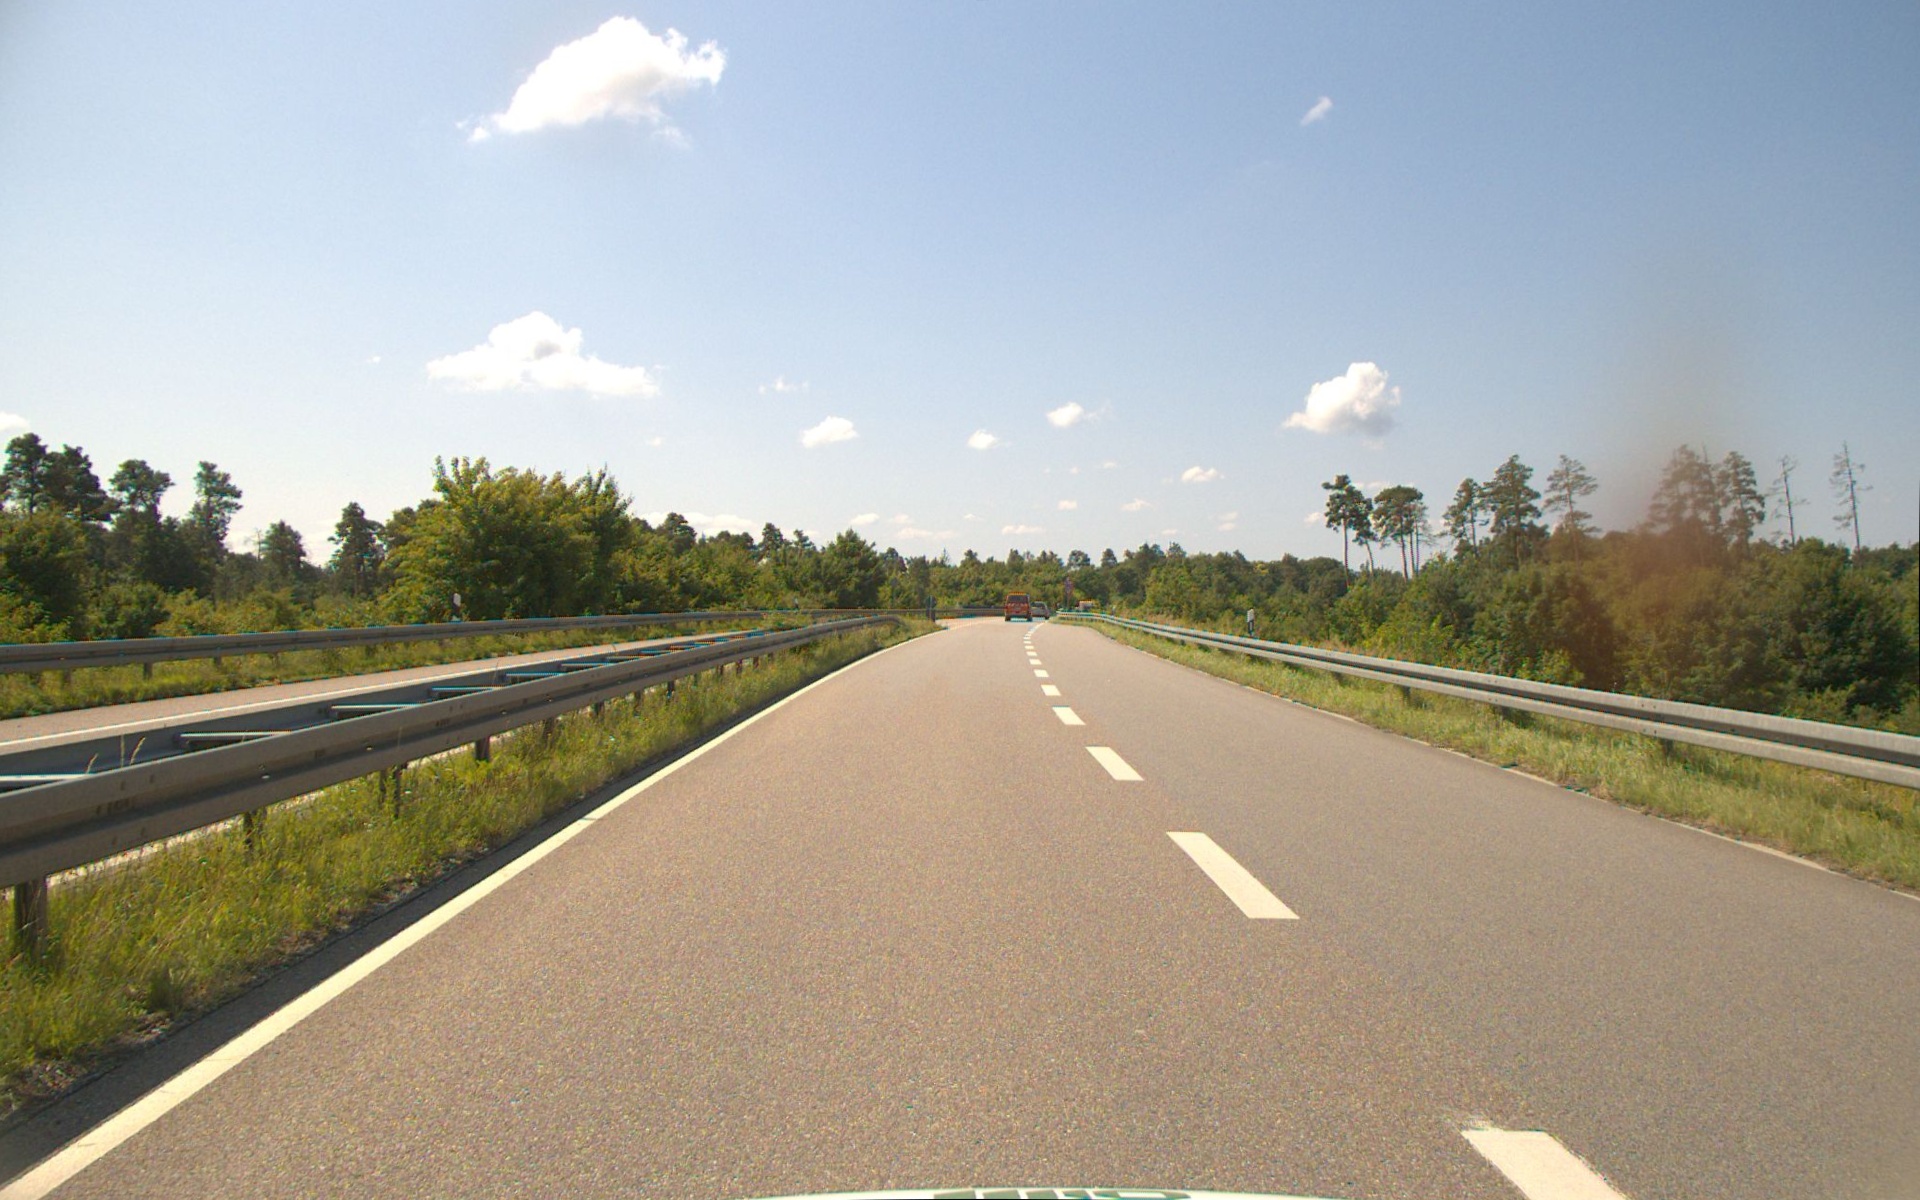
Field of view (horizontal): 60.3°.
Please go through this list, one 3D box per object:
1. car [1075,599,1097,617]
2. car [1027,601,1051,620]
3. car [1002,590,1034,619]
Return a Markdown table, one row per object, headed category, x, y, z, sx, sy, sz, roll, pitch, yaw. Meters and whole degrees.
| category | x | y | z | sx | sy | sz | roll | pitch | yaw |
| --- | --- | --- | --- | --- | --- | --- | --- | --- | --- |
| car | 14.984 | 0.921 | 196.351 | 2.138 | 1.989 | 5.808 | 1 | -1 | 9 |
| car | 6.834 | 0.925 | 142.733 | 1.965 | 1.520 | 4.240 | 1 | -1 | 4 |
| car | 4.264 | 0.334 | 120.974 | 2.034 | 2.028 | 5.114 | 1 | -1 | 4 |
